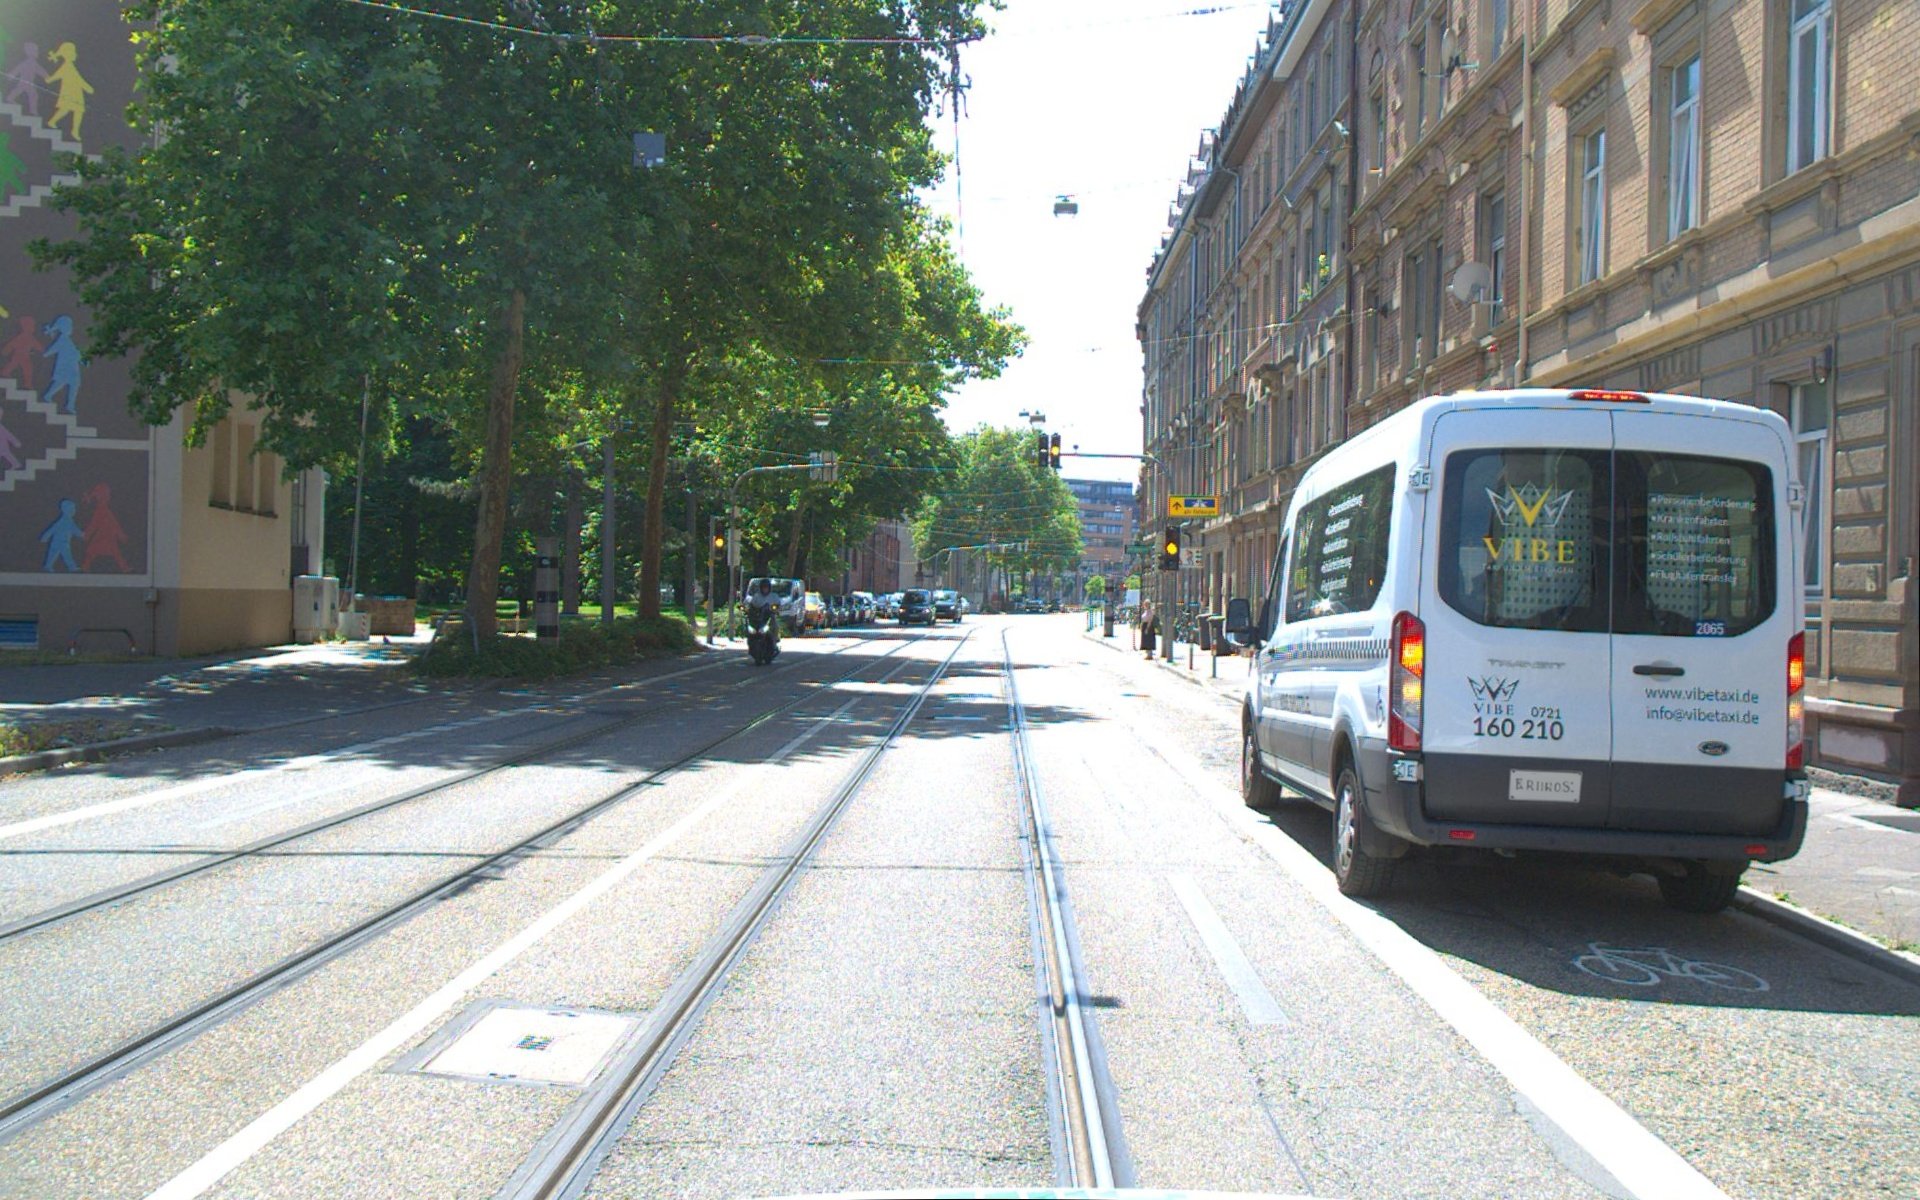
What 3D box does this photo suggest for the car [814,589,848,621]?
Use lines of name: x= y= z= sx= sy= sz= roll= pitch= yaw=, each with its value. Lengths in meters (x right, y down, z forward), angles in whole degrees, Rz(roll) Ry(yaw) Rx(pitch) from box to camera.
car: x=-6.318 y=0.239 z=81.294 sx=1.425 sy=1.522 sz=3.662 roll=2 pitch=0 yaw=-1

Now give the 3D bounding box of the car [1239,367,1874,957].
car: x=3.103 y=0.261 z=10.071 sx=2.024 sy=2.544 sz=5.456 roll=2 pitch=0 yaw=2

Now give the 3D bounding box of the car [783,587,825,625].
car: x=-6.647 y=0.242 z=70.725 sx=1.425 sy=1.522 sz=3.662 roll=2 pitch=0 yaw=-1

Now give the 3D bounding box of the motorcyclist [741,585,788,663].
motorcyclist: x=-4.026 y=0.487 z=34.102 sx=0.922 sy=1.559 sz=0.500 roll=2 pitch=0 yaw=-6

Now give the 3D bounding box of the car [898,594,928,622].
car: x=-2.456 y=0.407 z=86.689 sx=1.497 sy=1.433 sz=3.489 roll=2 pitch=0 yaw=-1

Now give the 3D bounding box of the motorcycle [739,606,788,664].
motorcycle: x=-4.003 y=0.702 z=33.808 sx=0.930 sy=1.133 sz=1.600 roll=2 pitch=0 yaw=-6

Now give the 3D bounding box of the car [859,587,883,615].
car: x=-5.928 y=0.055 z=110.264 sx=1.425 sy=1.761 sz=3.193 roll=2 pitch=0 yaw=-1

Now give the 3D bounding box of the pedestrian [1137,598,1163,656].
pedestrian: x=5.244 y=0.742 z=45.687 sx=0.606 sy=1.565 sz=0.464 roll=2 pitch=0 yaw=-1

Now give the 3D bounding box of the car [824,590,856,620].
car: x=-6.292 y=0.260 z=87.045 sx=1.425 sy=1.522 sz=3.662 roll=2 pitch=0 yaw=-1

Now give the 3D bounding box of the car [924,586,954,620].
car: x=-1.263 y=0.173 z=97.950 sx=1.640 sy=1.892 sz=3.999 roll=2 pitch=0 yaw=-1

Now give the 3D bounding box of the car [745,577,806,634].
car: x=-6.716 y=0.201 z=60.494 sx=1.764 sy=1.956 sz=3.999 roll=2 pitch=0 yaw=-1
